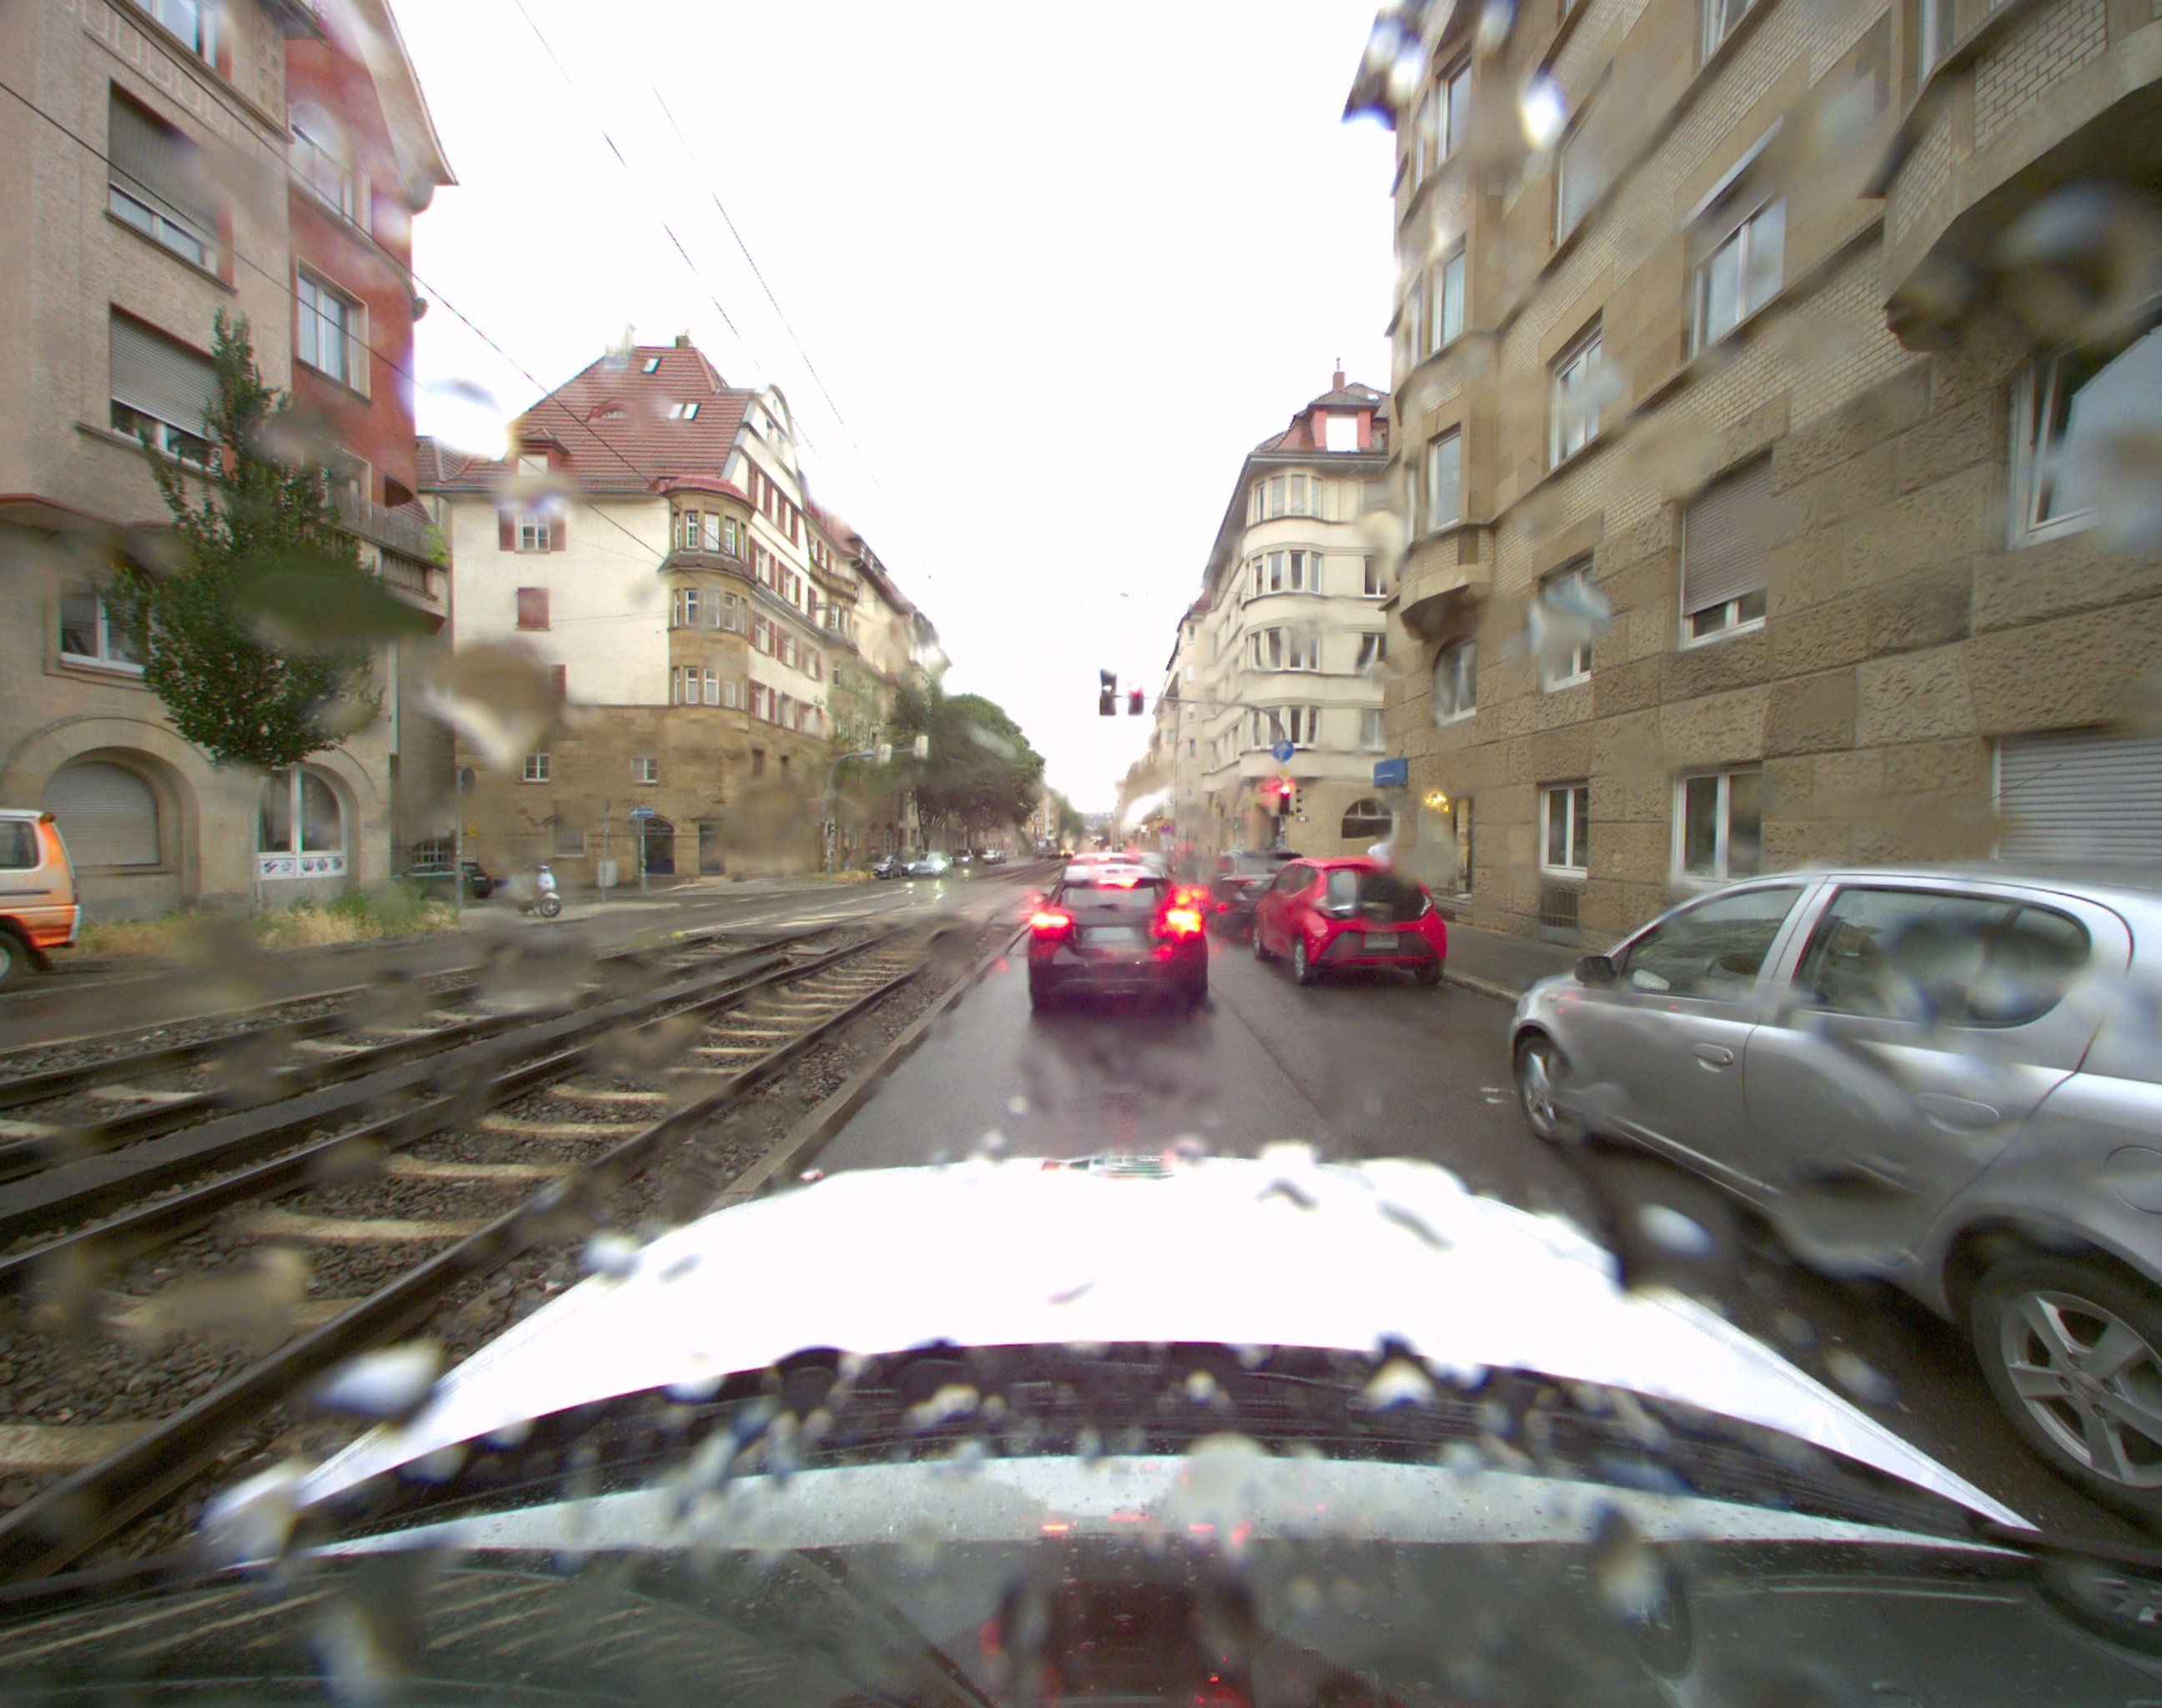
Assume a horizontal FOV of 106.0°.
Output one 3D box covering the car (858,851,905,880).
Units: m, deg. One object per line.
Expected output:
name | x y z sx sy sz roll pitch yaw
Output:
car | -11.256 0.637 46.117 1.747 1.552 4.033 0 -1 -2

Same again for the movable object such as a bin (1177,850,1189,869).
movable object such as a bin | 7.472 0.426 59.557 0.873 1.389 0.984 0 -1 5

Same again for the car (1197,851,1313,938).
car | 3.243 0.688 15.811 1.539 1.486 3.831 0 0 2

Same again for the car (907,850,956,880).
car | -8.271 0.579 45.432 1.891 1.588 3.974 0 -1 2

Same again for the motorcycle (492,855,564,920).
motorcycle | -12.067 0.706 17.767 1.577 1.365 0.628 -1 -1 28

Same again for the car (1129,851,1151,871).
car | 4.413 0.531 61.584 1.539 1.486 3.549 0 0 2

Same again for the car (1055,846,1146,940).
car | 0.392 0.698 15.960 1.559 1.609 3.815 0 -1 2

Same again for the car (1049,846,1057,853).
car | -5.326 -0.873 153.300 1.372 1.249 3.297 0 -1 0

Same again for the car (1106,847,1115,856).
car | 6.863 -0.585 191.134 1.986 1.876 4.001 0 -1 2

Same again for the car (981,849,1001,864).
car | -9.870 0.308 89.598 1.583 1.581 3.920 0 -1 2

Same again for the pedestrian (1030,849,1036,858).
pedestrian | -10.807 -0.156 183.605 1.049 1.957 1.043 1 0 3

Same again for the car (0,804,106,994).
car | -12.122 0.463 7.210 1.725 1.975 4.341 0 -1 0

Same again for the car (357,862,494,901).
car | -24.385 1.004 30.409 3.633 1.404 1.699 0 -1 -3

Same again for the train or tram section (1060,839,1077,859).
train or tram section | -2.415 -0.894 156.956 2.772 3.861 10.433 0 -1 2

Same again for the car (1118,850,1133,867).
car | 4.023 0.407 73.675 1.289 1.442 2.930 0 0 2

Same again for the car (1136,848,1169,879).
car | 3.700 0.483 42.702 1.539 1.590 3.549 0 0 2

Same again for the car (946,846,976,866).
car | -10.598 0.214 72.140 1.868 1.737 3.920 0 -1 2

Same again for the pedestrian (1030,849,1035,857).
pedestrian | -10.889 -0.220 182.314 1.049 1.957 1.043 1 0 3

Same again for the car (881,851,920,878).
car | -11.288 0.644 51.152 1.713 1.611 3.914 0 -1 -3

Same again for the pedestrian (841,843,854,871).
pedestrian | -13.903 0.180 48.473 0.630 1.672 0.701 0 -1 -7

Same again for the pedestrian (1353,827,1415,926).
pedestrian | 5.559 0.409 15.002 0.739 1.748 1.111 0 -1 2

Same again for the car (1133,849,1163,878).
car | 3.841 0.527 47.177 1.539 1.590 3.549 0 0 2

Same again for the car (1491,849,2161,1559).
car | 3.147 0.739 3.101 1.608 1.467 3.314 -2 0 3

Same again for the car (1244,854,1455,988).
car | 3.277 0.733 10.566 1.637 1.448 3.298 0 0 -1

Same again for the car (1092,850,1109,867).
car | 1.947 0.393 79.996 1.538 1.636 3.688 0 0 2

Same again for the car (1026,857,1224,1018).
car | 0.466 0.779 9.565 1.822 1.458 4.105 0 0 2

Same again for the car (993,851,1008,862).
car | -9.800 0.296 99.013 1.443 1.331 3.271 0 -1 0
